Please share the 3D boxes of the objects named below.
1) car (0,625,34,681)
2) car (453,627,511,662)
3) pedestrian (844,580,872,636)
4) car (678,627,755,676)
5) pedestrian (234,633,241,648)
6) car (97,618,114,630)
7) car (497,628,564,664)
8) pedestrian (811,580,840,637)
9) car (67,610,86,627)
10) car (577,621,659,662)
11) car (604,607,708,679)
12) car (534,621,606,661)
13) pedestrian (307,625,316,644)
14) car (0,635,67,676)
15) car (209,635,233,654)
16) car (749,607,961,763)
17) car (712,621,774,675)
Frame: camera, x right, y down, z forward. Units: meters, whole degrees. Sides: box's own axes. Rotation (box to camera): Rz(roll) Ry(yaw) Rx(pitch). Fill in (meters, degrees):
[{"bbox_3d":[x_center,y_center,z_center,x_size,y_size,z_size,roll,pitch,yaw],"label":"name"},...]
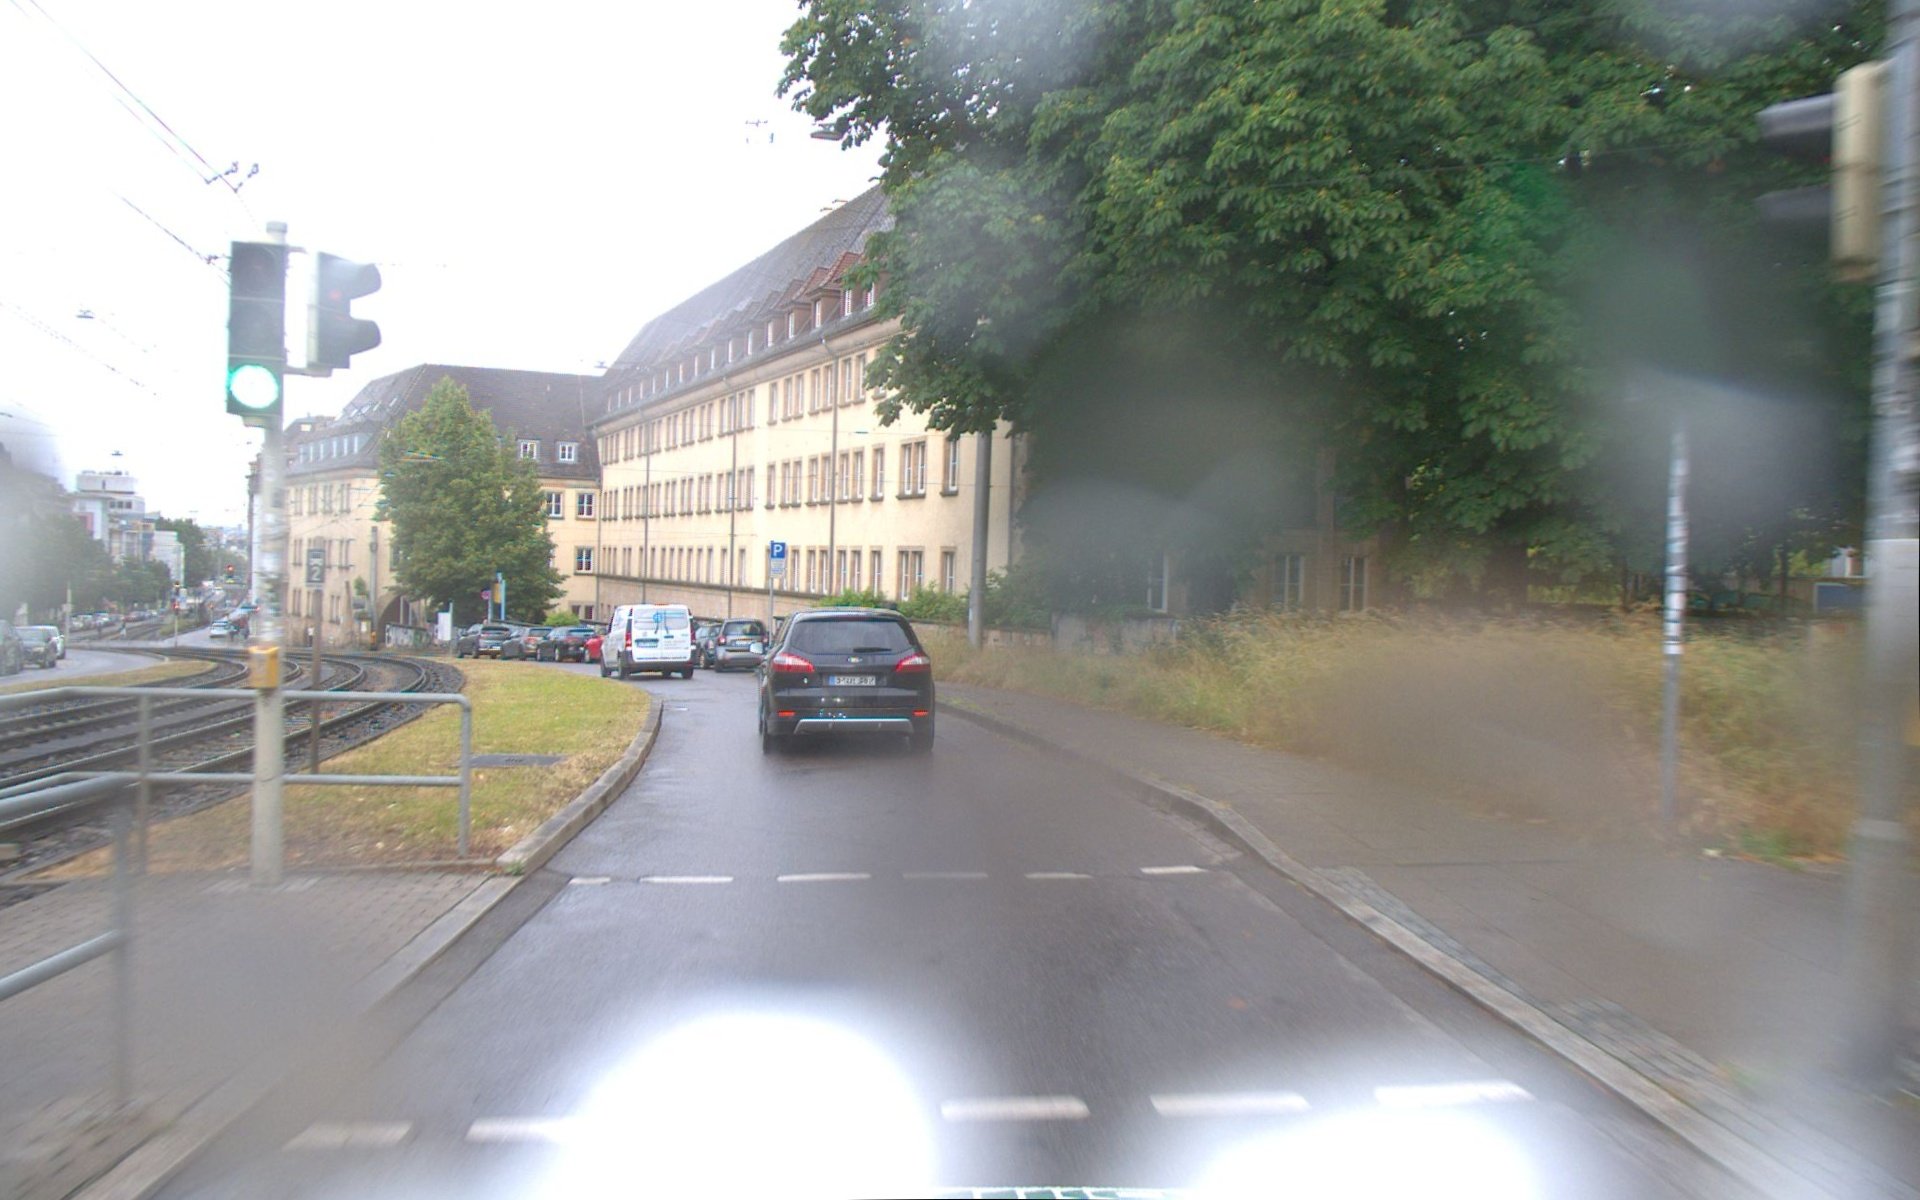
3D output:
[{"bbox_3d":[-29.462,1.584,50.105,1.777,1.611,4.667,1,-2,-21],"label":"car"},{"bbox_3d":[-22.160,2.031,76.567,1.648,1.551,4.067,-1,-1,-30],"label":"car"},{"bbox_3d":[-3.259,0.257,52.789,0.707,1.785,0.734,-1,-1,-21],"label":"pedestrian"},{"bbox_3d":[-7.743,1.599,52.304,1.516,1.441,3.616,-1,-1,-24],"label":"car"},{"bbox_3d":[-63.601,3.595,145.624,0.504,1.339,0.501,1,-1,-31],"label":"pedestrian"},{"bbox_3d":[-114.465,3.217,221.568,1.971,1.691,3.963,1,-1,-28],"label":"car"},{"bbox_3d":[-18.681,1.979,71.821,1.650,1.502,4.062,-1,-1,-32],"label":"car"},{"bbox_3d":[-4.262,0.280,52.358,0.707,1.785,0.734,-1,-1,-21],"label":"pedestrian"},{"bbox_3d":[-106.060,2.231,198.658,1.971,2.049,3.963,1,-1,-28],"label":"car"},{"bbox_3d":[-12.956,1.577,62.504,1.651,1.502,4.018,2,-2,-34],"label":"car"},{"bbox_3d":[-7.967,1.077,43.069,2.104,1.776,4.195,0,0,-19],"label":"car"},{"bbox_3d":[-15.764,1.651,66.709,1.648,1.502,4.412,-1,-1,-30],"label":"car"},{"bbox_3d":[-46.293,2.485,118.145,0.500,1.339,0.505,1,-1,-33],"label":"pedestrian"},{"bbox_3d":[-33.657,1.991,59.895,1.940,1.456,4.167,1,-2,-24],"label":"car"},{"bbox_3d":[-72.100,4.364,161.341,1.966,1.803,3.973,1,-1,-22],"label":"car"},{"bbox_3d":[-1.273,0.839,18.199,1.885,1.505,3.990,0,0,-10],"label":"car"},{"bbox_3d":[-6.409,1.396,48.723,1.570,1.491,2.712,-1,-1,-12],"label":"car"}]
